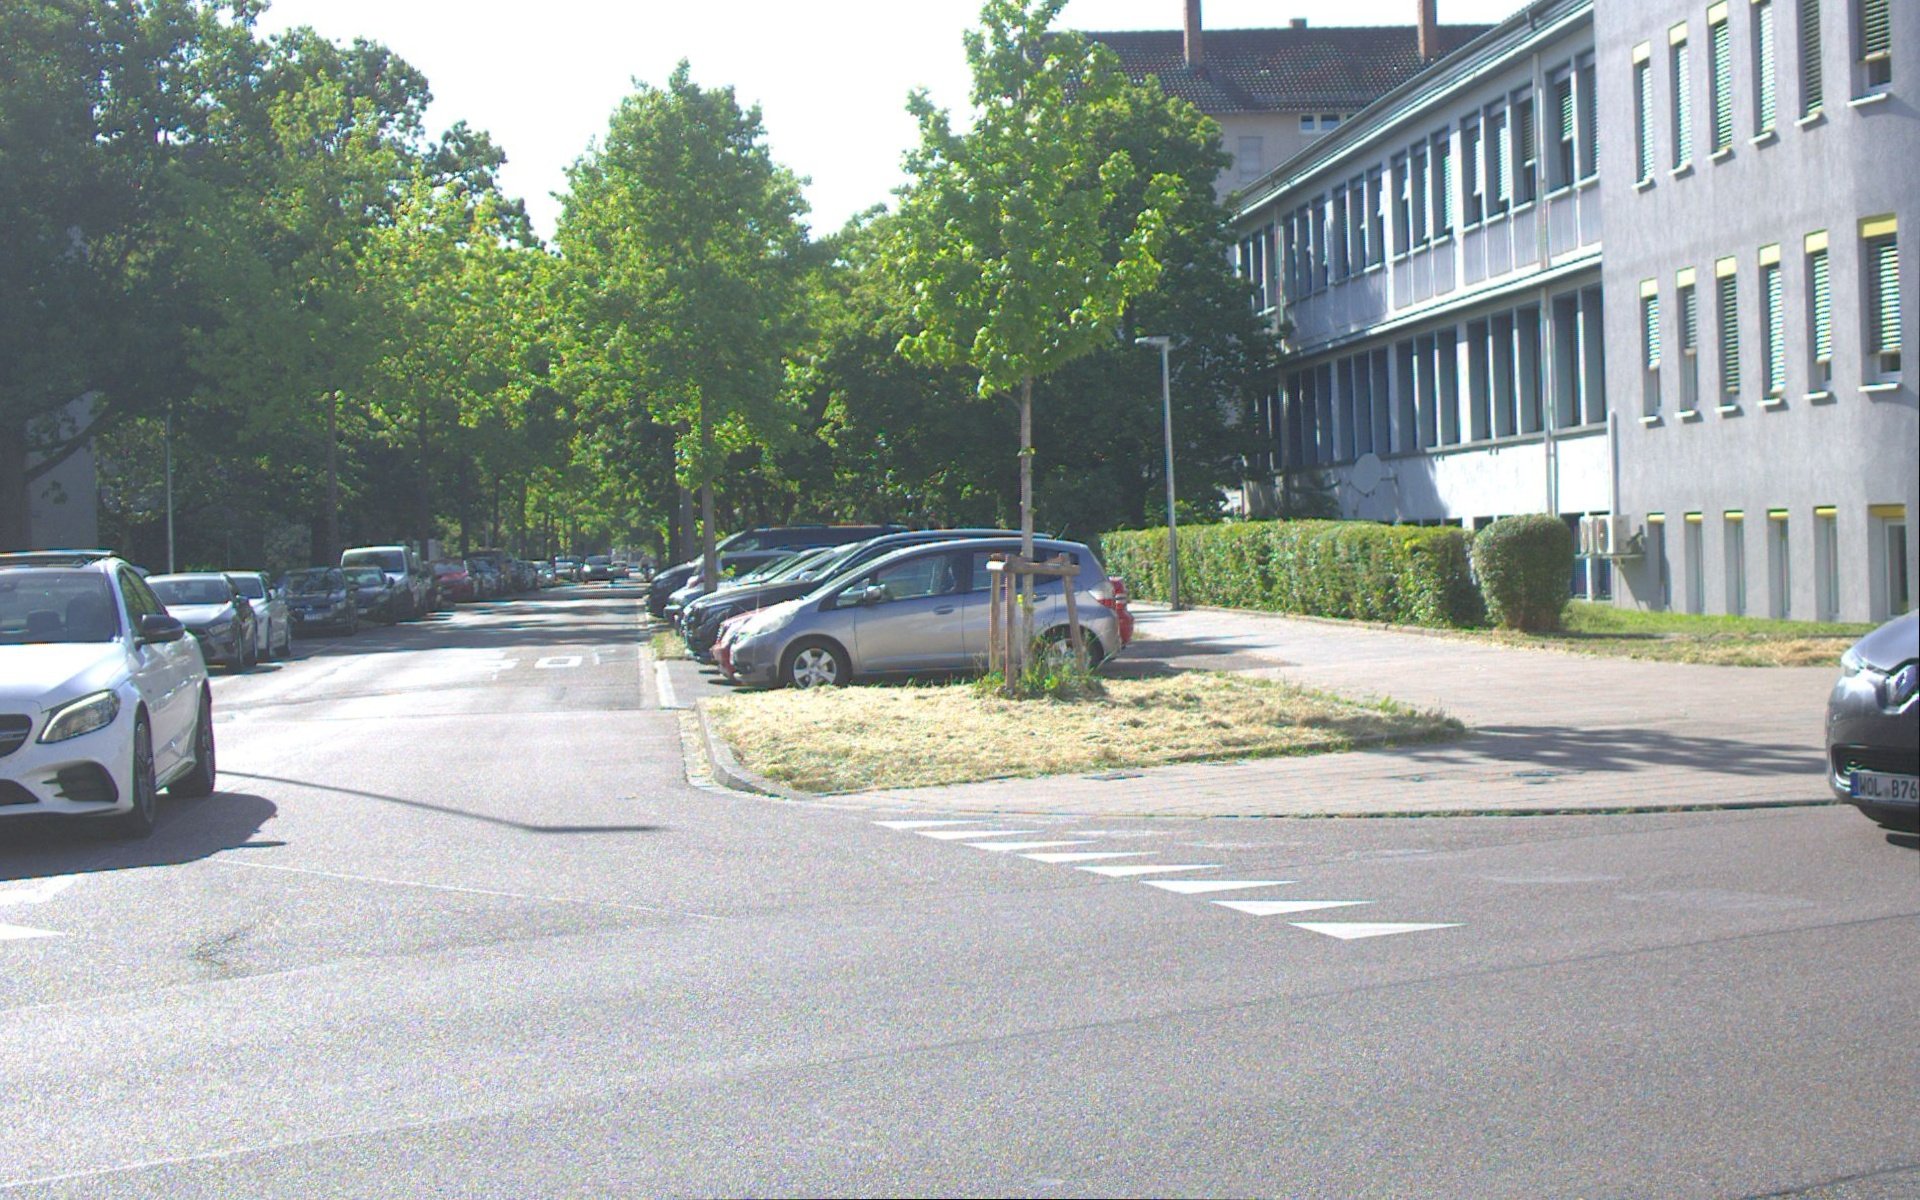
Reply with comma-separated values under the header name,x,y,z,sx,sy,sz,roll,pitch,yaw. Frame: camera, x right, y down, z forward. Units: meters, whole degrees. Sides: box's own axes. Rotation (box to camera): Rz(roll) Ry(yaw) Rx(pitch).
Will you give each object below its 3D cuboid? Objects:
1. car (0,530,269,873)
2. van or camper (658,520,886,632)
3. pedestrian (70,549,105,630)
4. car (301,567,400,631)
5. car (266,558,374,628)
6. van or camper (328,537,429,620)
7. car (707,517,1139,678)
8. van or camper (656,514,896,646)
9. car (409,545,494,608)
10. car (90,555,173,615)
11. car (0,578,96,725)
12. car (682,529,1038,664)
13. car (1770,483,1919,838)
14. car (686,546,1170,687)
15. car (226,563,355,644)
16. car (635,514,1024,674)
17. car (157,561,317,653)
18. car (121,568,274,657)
name,x,y,z,sx,sy,sz,roll,pitch,yaw
car,-5.026,0.475,18.227,1.885,1.499,4.639,-4,2,-3
van or camper,-3.461,-0.436,62.775,3.986,1.766,2.000,-4,1,-5
pedestrian,-18.305,-0.228,72.137,0.634,1.659,0.700,-2,1,-11
car,-14.065,-0.038,79.517,1.842,1.393,4.001,-1,0,-4
car,-13.315,-0.158,71.693,1.993,1.403,3.909,0,0,-7
van or camper,-14.457,-0.511,85.632,1.993,2.007,4.000,0,0,-2
car,-0.404,-0.036,34.230,4.087,1.487,1.729,-1,0,-8
van or camper,-3.230,-0.353,59.901,3.986,2.007,2.000,-4,1,-5
car,-16.683,-0.776,112.977,1.994,2.007,4.000,0,0,3
car,-18.100,-0.334,75.153,1.274,1.221,2.663,-2,1,-3
car,-9.916,0.484,35.020,1.667,1.415,4.001,0,0,-7
car,-1.268,-0.045,42.244,4.203,1.590,2.000,0,0,-7
car,5.837,0.230,15.490,4.124,1.499,1.843,-1,1,-30
car,-0.370,0.159,36.281,4.869,1.270,1.729,-2,1,-9
car,-12.250,0.053,63.103,1.842,1.393,4.001,-1,0,-4
car,-1.539,-0.062,39.383,4.278,1.758,2.000,0,0,-7
car,-11.688,0.094,55.792,1.993,1.393,4.001,-1,0,-4
car,-11.110,0.166,50.322,1.629,1.230,4.193,0,0,-5
